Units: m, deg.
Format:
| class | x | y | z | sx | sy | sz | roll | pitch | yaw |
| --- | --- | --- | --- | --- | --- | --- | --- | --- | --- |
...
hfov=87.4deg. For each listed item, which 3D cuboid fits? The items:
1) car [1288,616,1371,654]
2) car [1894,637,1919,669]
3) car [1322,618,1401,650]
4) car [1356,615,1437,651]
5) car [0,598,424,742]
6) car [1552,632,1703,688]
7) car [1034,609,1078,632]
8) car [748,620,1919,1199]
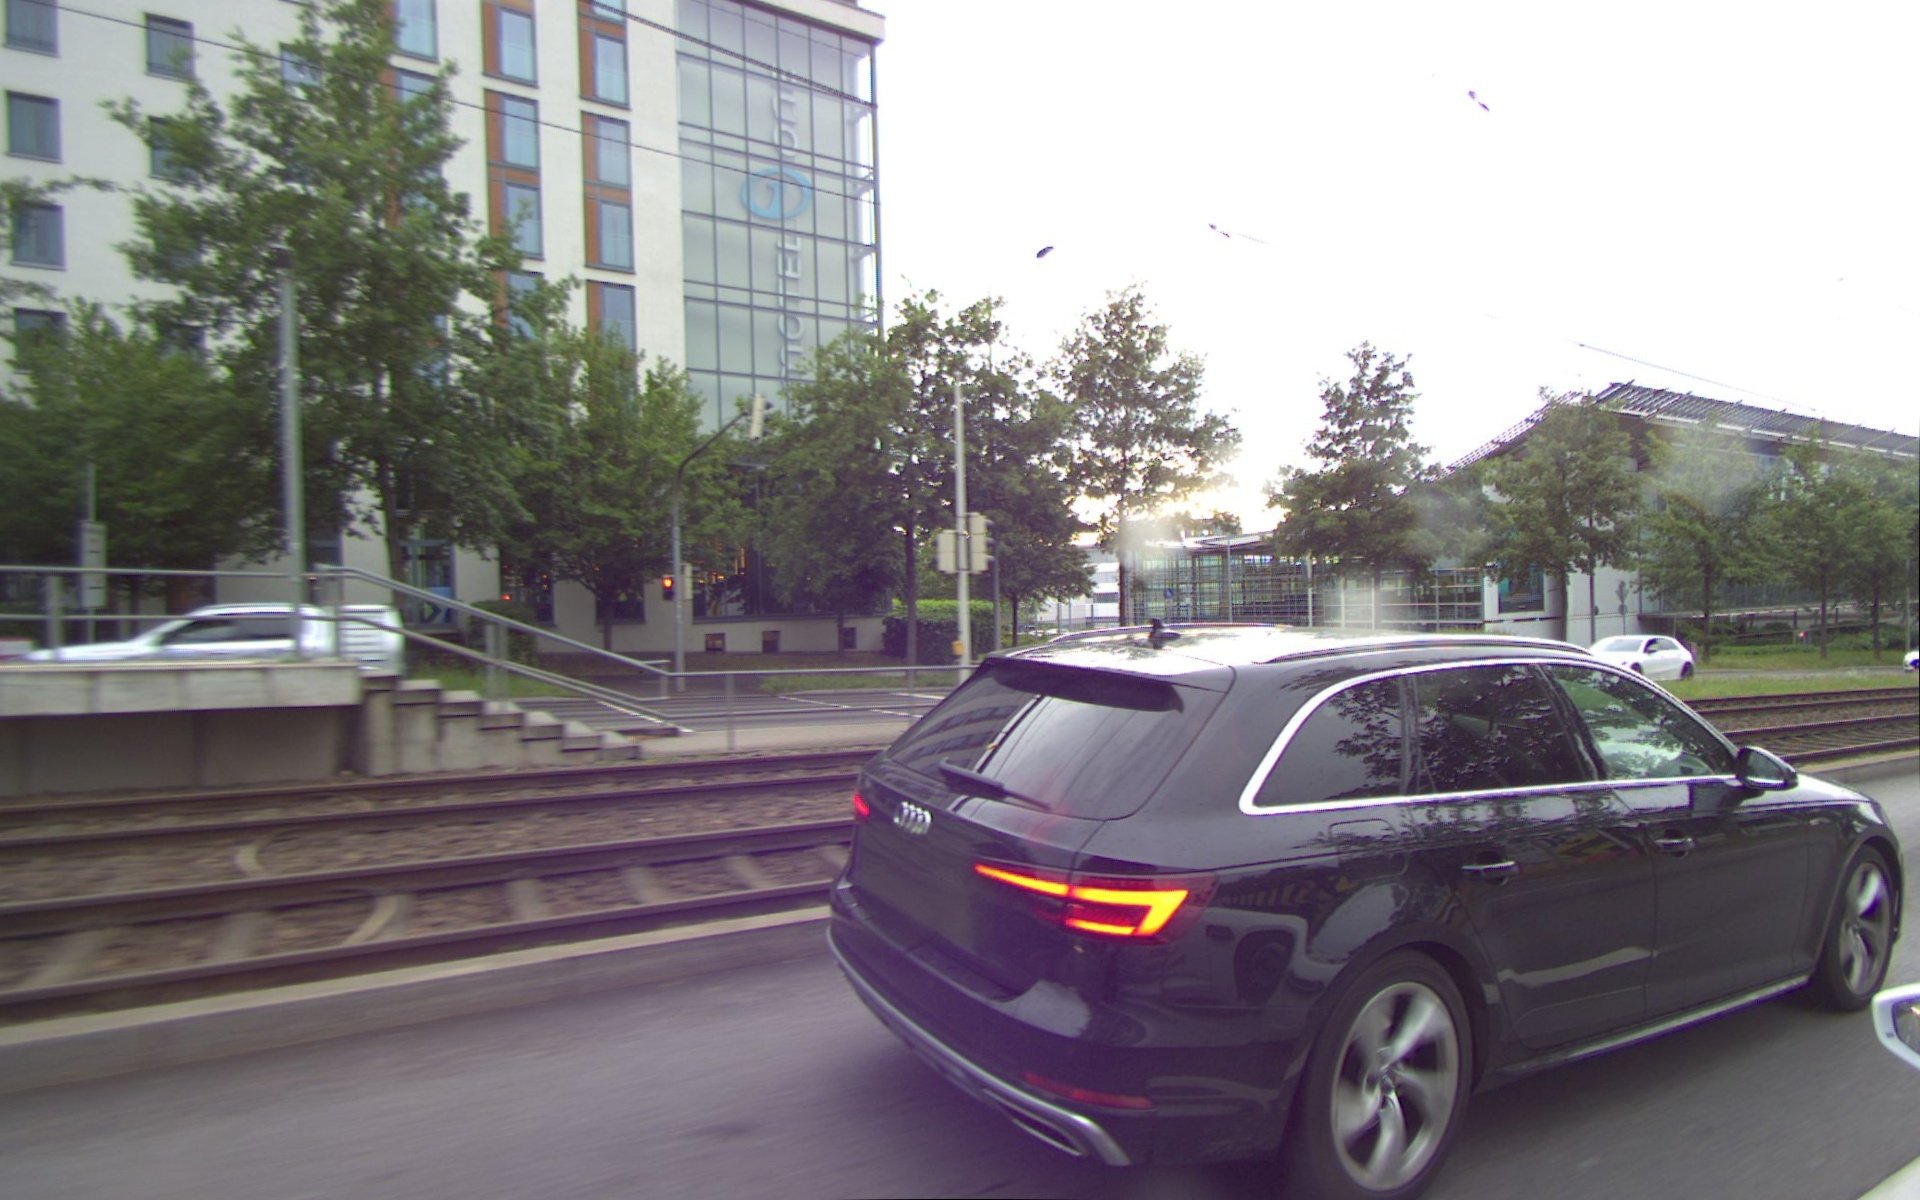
| class | x | y | z | sx | sy | sz | roll | pitch | yaw |
| --- | --- | --- | --- | --- | --- | --- | --- | --- | --- |
| car | 20.200 | 1.879 | 55.076 | 1.839 | 1.861 | 4.055 | 1 | 0 | -28 |
| car | 45.959 | 2.485 | 47.273 | 4.090 | 1.466 | 1.872 | 1 | -2 | -31 |
| car | 22.678 | 1.916 | 56.868 | 1.618 | 1.639 | 4.037 | 1 | 0 | -28 |
| car | 25.160 | 1.891 | 58.024 | 1.839 | 1.861 | 4.055 | 1 | 0 | -28 |
| car | -10.887 | 0.964 | 15.077 | 4.944 | 1.871 | 1.984 | 1 | -2 | -31 |
| car | 18.910 | 1.661 | 28.412 | 4.376 | 1.463 | 1.829 | 1 | -3 | -30 |
| car | 8.276 | 1.772 | 86.960 | 1.839 | 1.861 | 4.055 | 1 | 0 | -28 |
| car | 1.787 | 0.823 | 3.813 | 4.772 | 1.453 | 1.781 | 1 | 0 | -31 |
